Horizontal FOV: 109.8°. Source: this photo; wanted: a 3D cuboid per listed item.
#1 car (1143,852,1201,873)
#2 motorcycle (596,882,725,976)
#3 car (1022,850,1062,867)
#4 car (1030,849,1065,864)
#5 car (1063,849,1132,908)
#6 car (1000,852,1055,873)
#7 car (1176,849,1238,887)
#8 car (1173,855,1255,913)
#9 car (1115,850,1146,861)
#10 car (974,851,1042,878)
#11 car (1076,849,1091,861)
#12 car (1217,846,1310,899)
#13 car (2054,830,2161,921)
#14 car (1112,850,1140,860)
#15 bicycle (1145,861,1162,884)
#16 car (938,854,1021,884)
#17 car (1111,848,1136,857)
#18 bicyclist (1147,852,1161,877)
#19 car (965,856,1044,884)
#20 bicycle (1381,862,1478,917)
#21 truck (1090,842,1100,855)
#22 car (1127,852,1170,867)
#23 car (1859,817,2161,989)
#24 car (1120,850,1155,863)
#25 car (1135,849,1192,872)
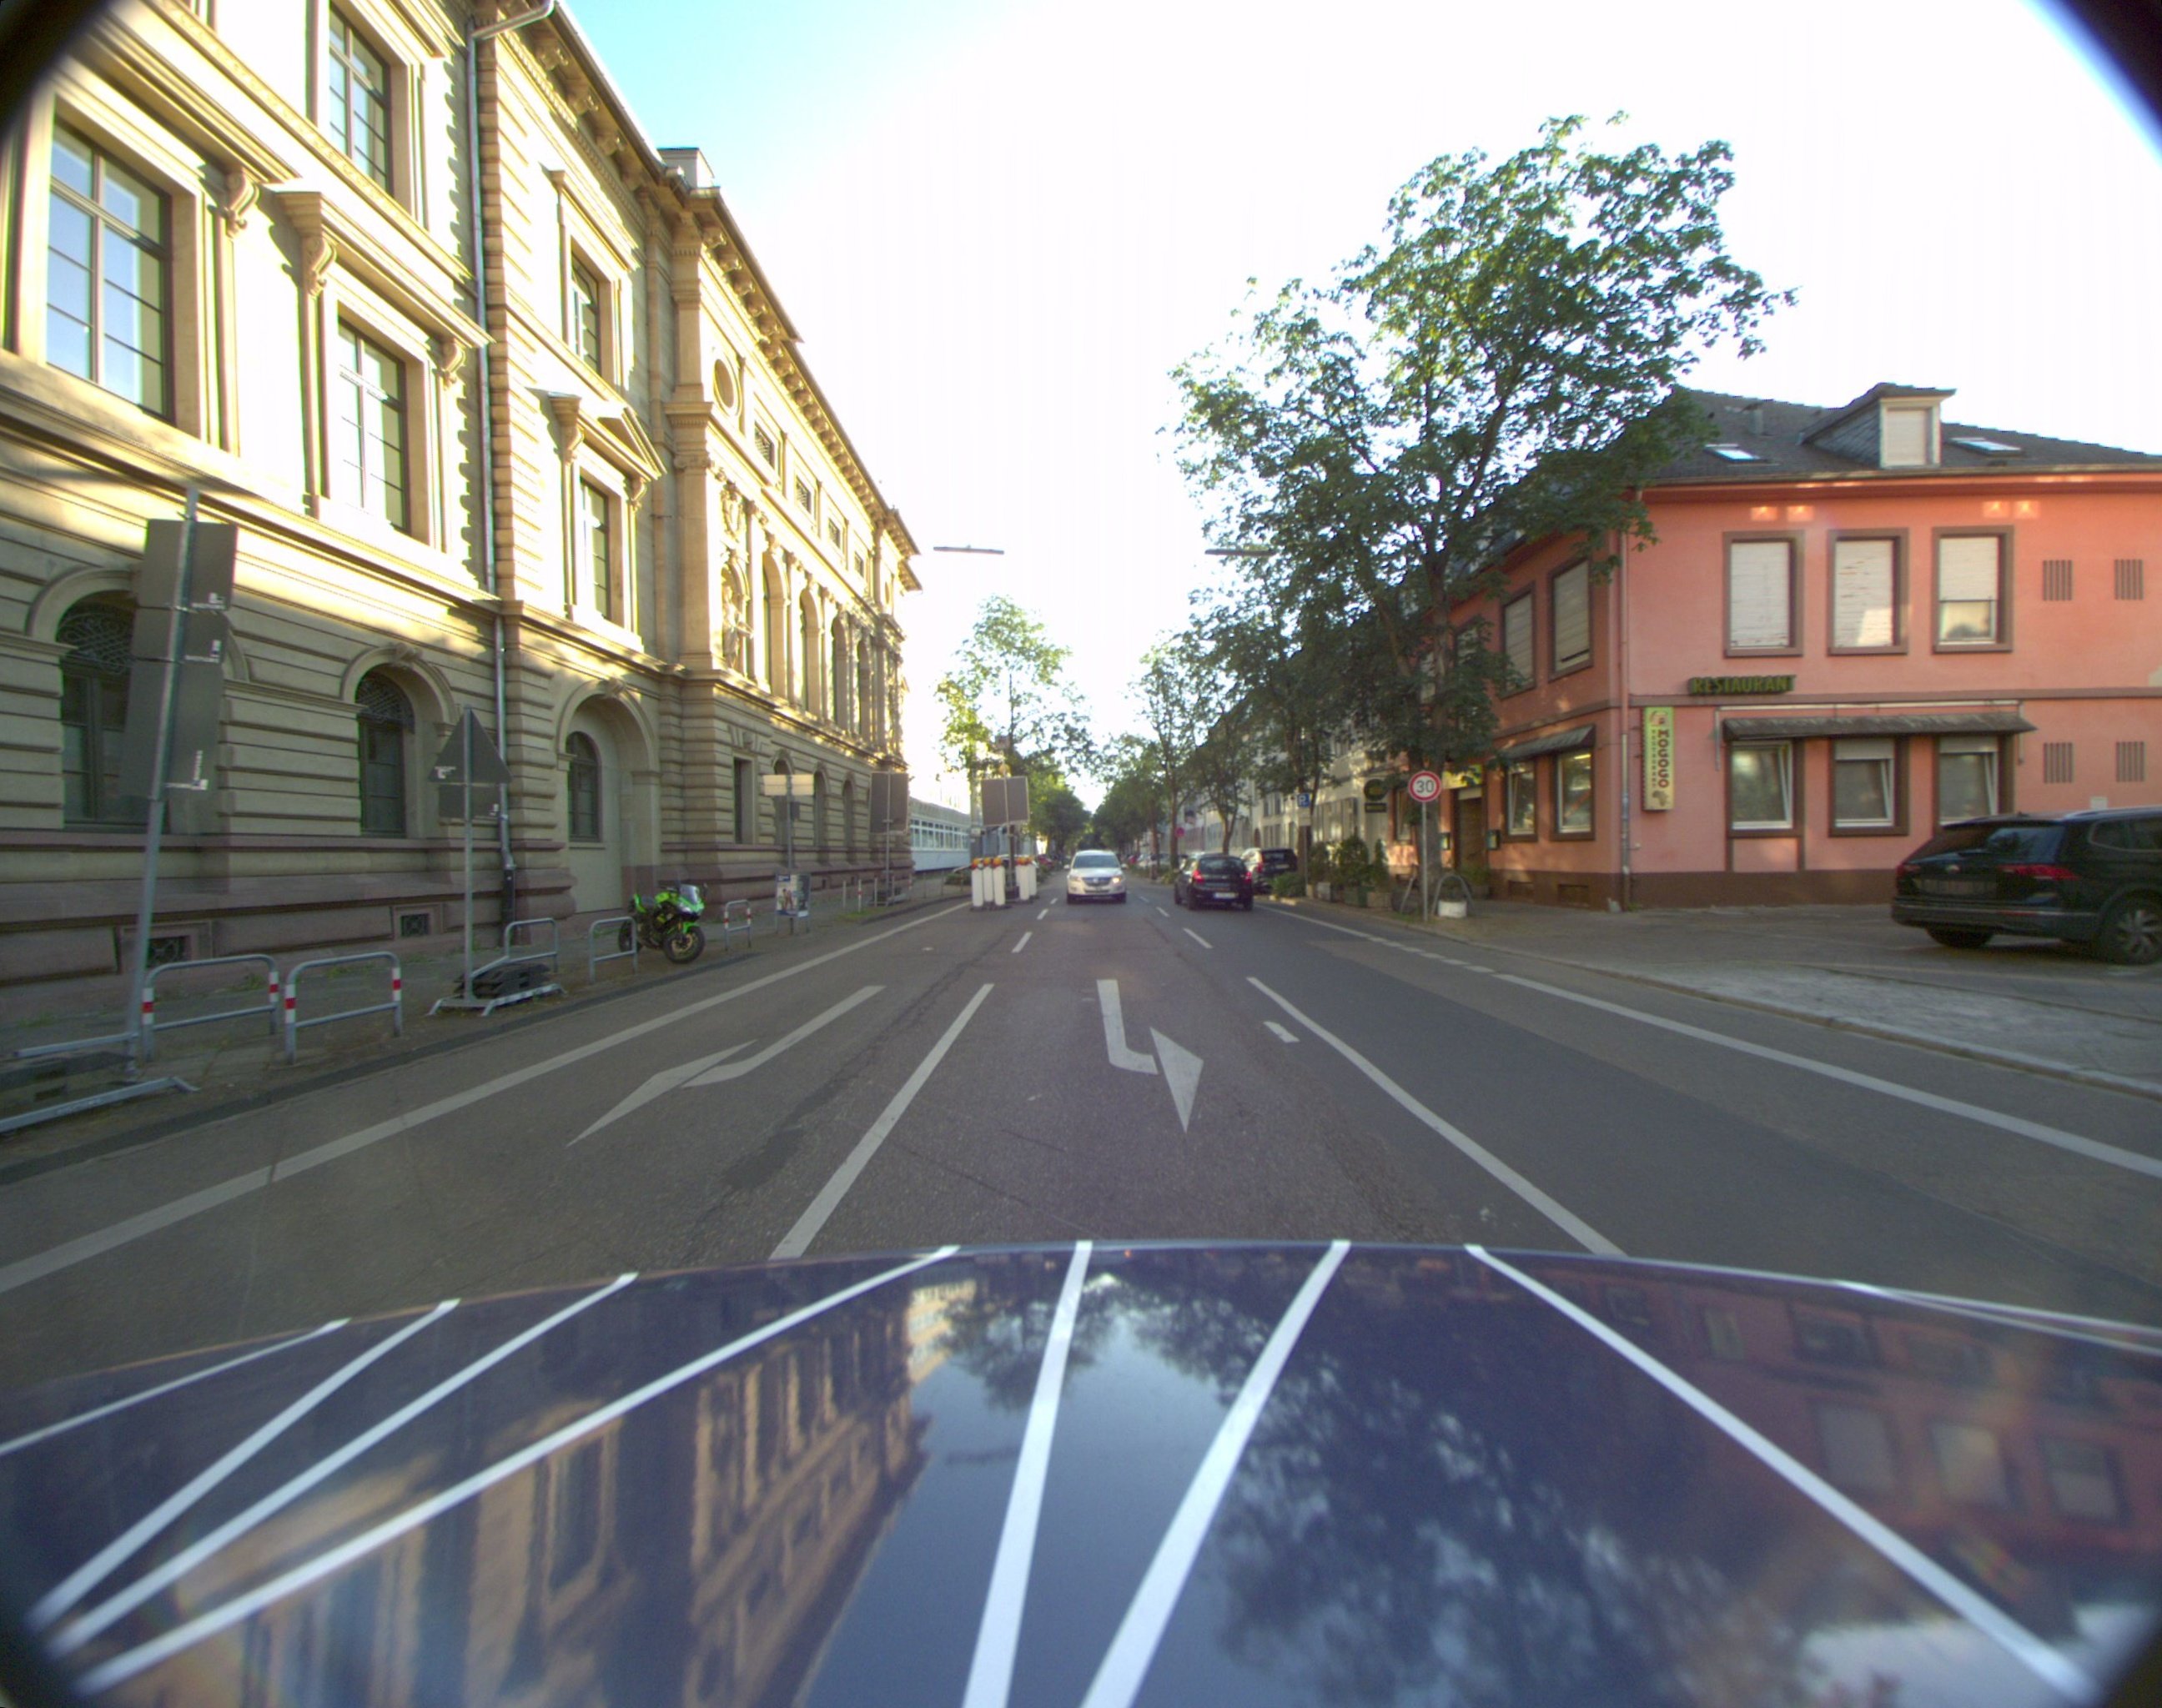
[{"bbox_3d":[6.759,0.630,56.896,4.228,1.536,1.801,-1,1,3],"label":"car"},{"bbox_3d":[-6.332,1.075,11.399,2.098,1.208,0.711,2,1,30],"label":"motorcycle"},{"bbox_3d":[-4.326,0.471,84.642,4.369,1.768,1.733,1,1,-2],"label":"car"},{"bbox_3d":[-4.194,0.349,96.280,4.369,1.862,1.733,0,1,-2],"label":"car"},{"bbox_3d":[0.511,0.697,24.279,1.957,1.667,4.542,-1,0,1],"label":"car"},{"bbox_3d":[-4.325,0.663,61.721,4.369,1.615,1.733,1,1,-2],"label":"car"},{"bbox_3d":[6.245,0.657,38.157,1.833,1.658,4.654,-5,1,-6],"label":"car"},{"bbox_3d":[3.641,0.786,21.416,1.662,1.463,3.854,0,0,0],"label":"car"},{"bbox_3d":[7.037,0.202,107.494,4.230,1.468,1.853,-1,1,-2],"label":"car"},{"bbox_3d":[-4.837,0.698,50.800,4.369,1.633,2.054,1,1,-2],"label":"car"},{"bbox_3d":[0.361,0.093,103.541,1.951,1.546,3.999,-1,0,-1],"label":"car"},{"bbox_3d":[6.960,0.641,29.609,1.833,1.749,5.045,-5,1,-6],"label":"car"},{"bbox_3d":[20.451,0.330,13.575,3.809,1.546,1.886,-1,0,-2],"label":"car"},{"bbox_3d":[7.155,0.130,119.966,4.230,1.468,1.969,-1,1,-2],"label":"car"},{"bbox_3d":[4.047,0.997,42.351,0.626,1.149,2.051,-1,2,-4],"label":"bicycle"},{"bbox_3d":[-5.501,0.811,41.712,4.369,1.456,1.833,1,1,-3],"label":"car"},{"bbox_3d":[7.439,-0.208,133.956,4.230,1.468,1.969,-1,1,-2],"label":"car"},{"bbox_3d":[4.040,0.561,42.294,0.627,1.357,0.928,-1,2,-3],"label":"bicyclist"},{"bbox_3d":[-4.414,0.913,44.333,4.368,1.486,1.672,1,1,0],"label":"car"},{"bbox_3d":[7.596,0.763,16.591,1.872,1.098,0.610,-1,1,-6],"label":"bicycle"},{"bbox_3d":[4.366,-1.753,232.831,2.748,3.723,7.855,-1,0,2],"label":"truck"},{"bbox_3d":[6.880,0.546,77.814,4.230,1.499,1.800,-1,1,-2],"label":"car"},{"bbox_3d":[12.111,0.444,8.728,4.429,1.655,1.864,-3,0,-1],"label":"car"},{"bbox_3d":[7.145,0.301,96.687,4.230,1.509,1.759,-1,1,-2],"label":"car"},{"bbox_3d":[6.463,0.514,59.632,4.230,1.680,1.800,-1,1,-2],"label":"car"}]
